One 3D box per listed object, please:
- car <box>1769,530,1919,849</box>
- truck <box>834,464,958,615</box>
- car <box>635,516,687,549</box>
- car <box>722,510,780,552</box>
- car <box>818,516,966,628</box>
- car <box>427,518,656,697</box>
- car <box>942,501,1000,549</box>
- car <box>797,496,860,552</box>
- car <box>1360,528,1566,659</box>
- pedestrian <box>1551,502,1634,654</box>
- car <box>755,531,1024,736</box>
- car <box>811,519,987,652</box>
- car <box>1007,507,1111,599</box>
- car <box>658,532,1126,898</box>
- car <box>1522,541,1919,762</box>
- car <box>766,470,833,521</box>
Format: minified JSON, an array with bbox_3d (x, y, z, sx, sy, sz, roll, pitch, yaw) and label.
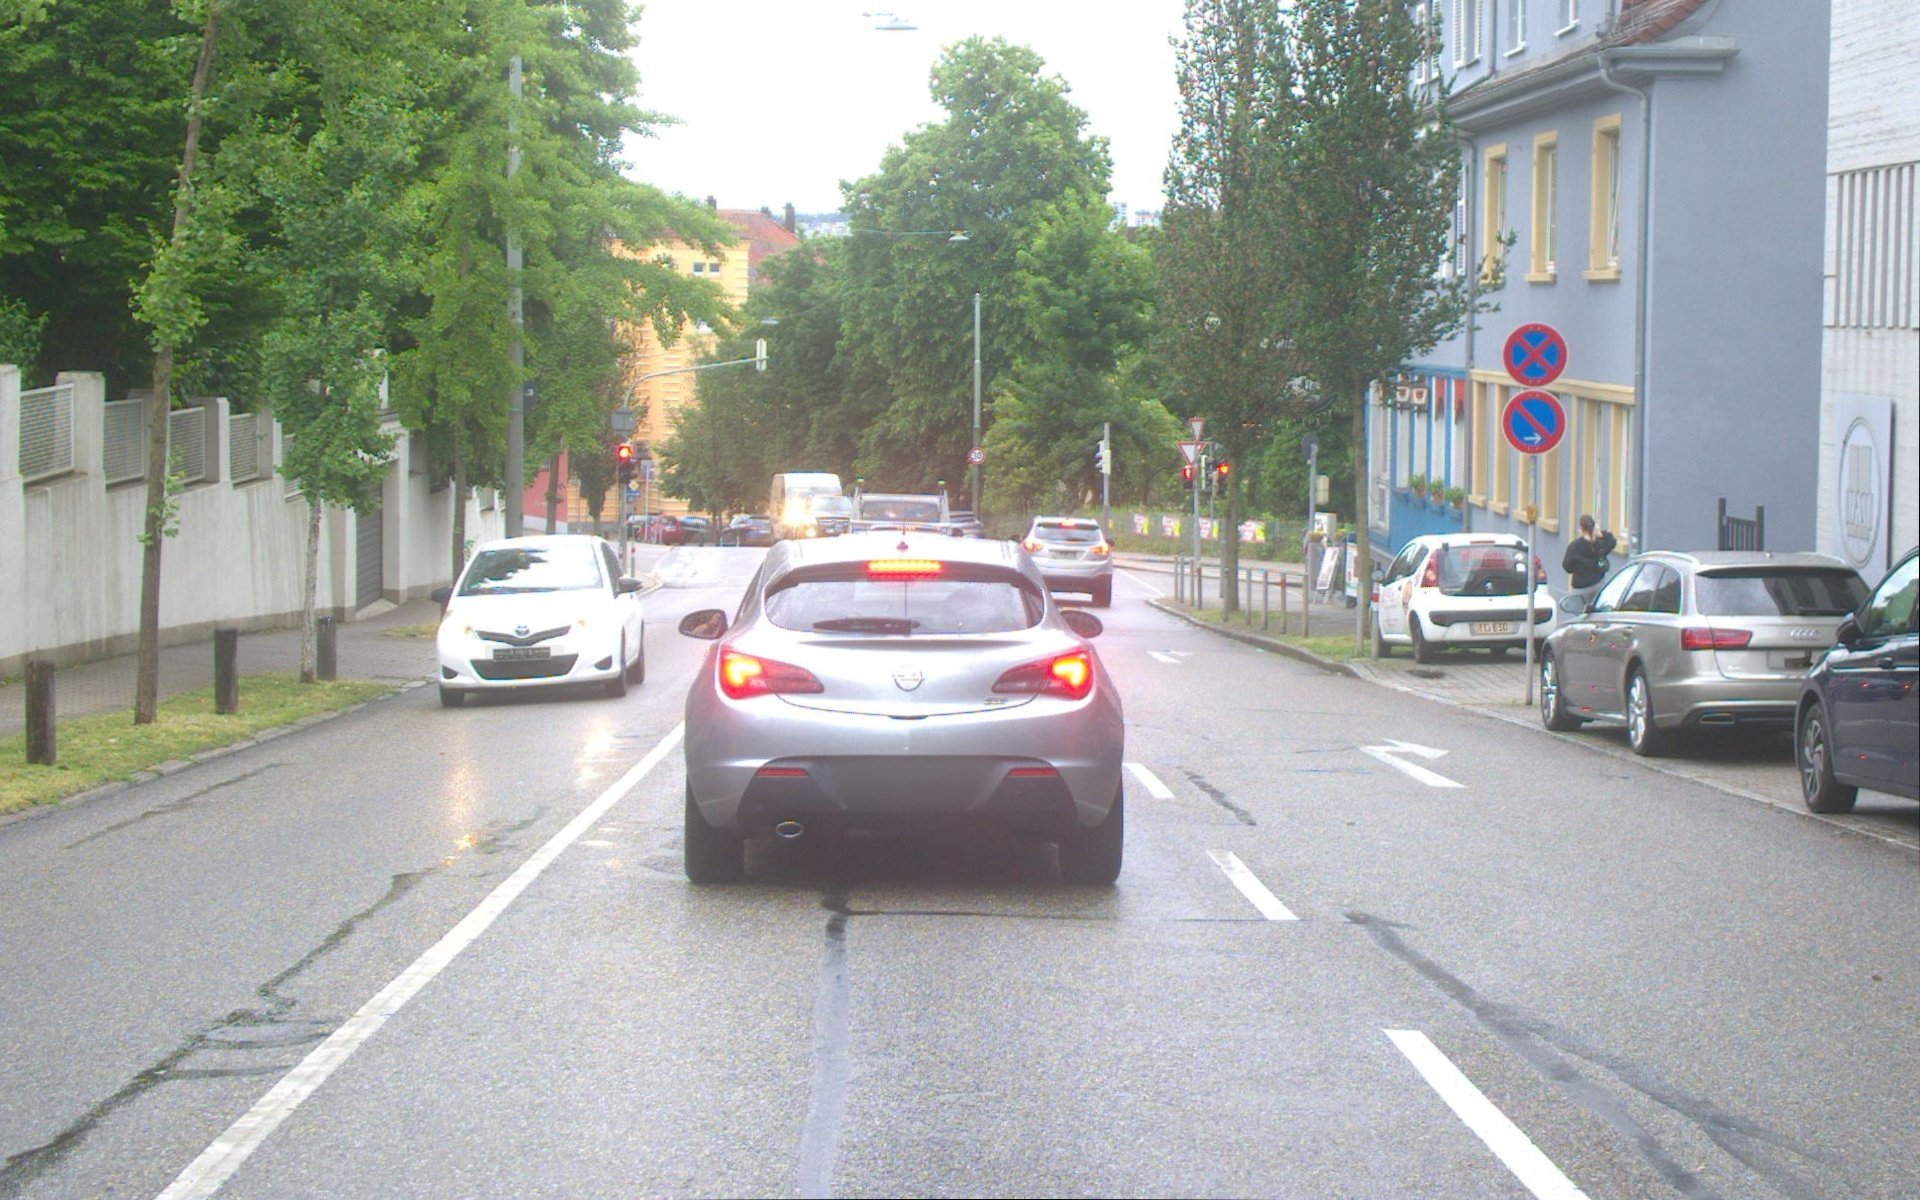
[{"bbox_3d":[5.645,0.436,17.849,1.728,1.593,4.162,0,1,-3],"label":"car"},{"bbox_3d":[-1.128,-1.049,58.698,1.962,2.420,4.936,1,1,-2],"label":"truck"},{"bbox_3d":[-14.765,-3.330,169.651,1.722,1.632,3.881,-1,1,-18],"label":"car"},{"bbox_3d":[-8.365,-2.741,137.085,1.722,1.632,3.881,1,1,-12],"label":"car"},{"bbox_3d":[-0.993,-0.430,48.707,1.962,1.443,4.306,1,2,-2],"label":"car"},{"bbox_3d":[-3.897,0.023,32.566,1.709,1.526,3.842,-2,1,-1],"label":"car"},{"bbox_3d":[0.360,-2.634,120.506,1.722,1.632,3.880,-1,1,-4],"label":"car"},{"bbox_3d":[-3.970,-2.301,104.196,1.870,1.632,3.880,-1,1,-2],"label":"car"},{"bbox_3d":[5.841,-0.118,40.336,1.722,1.443,3.880,-1,1,-2],"label":"car"},{"bbox_3d":[7.299,-0.262,39.696,0.783,1.723,0.651,1,1,-1],"label":"pedestrian"},{"bbox_3d":[-0.597,0.210,27.716,1.962,1.443,4.306,1,2,-2],"label":"car"},{"bbox_3d":[-0.764,-0.211,41.049,1.962,1.443,4.306,1,2,-2],"label":"car"},{"bbox_3d":[1.896,-0.931,66.746,1.722,1.708,3.880,-1,1,-3],"label":"car"},{"bbox_3d":[-0.356,0.418,15.491,1.837,1.429,3.880,0,1,-3],"label":"car"},{"bbox_3d":[5.615,0.308,25.458,1.962,1.443,4.527,0,2,-3],"label":"car"},{"bbox_3d":[-5.247,-3.380,111.811,1.722,1.632,3.881,-1,1,-9],"label":"car"}]
